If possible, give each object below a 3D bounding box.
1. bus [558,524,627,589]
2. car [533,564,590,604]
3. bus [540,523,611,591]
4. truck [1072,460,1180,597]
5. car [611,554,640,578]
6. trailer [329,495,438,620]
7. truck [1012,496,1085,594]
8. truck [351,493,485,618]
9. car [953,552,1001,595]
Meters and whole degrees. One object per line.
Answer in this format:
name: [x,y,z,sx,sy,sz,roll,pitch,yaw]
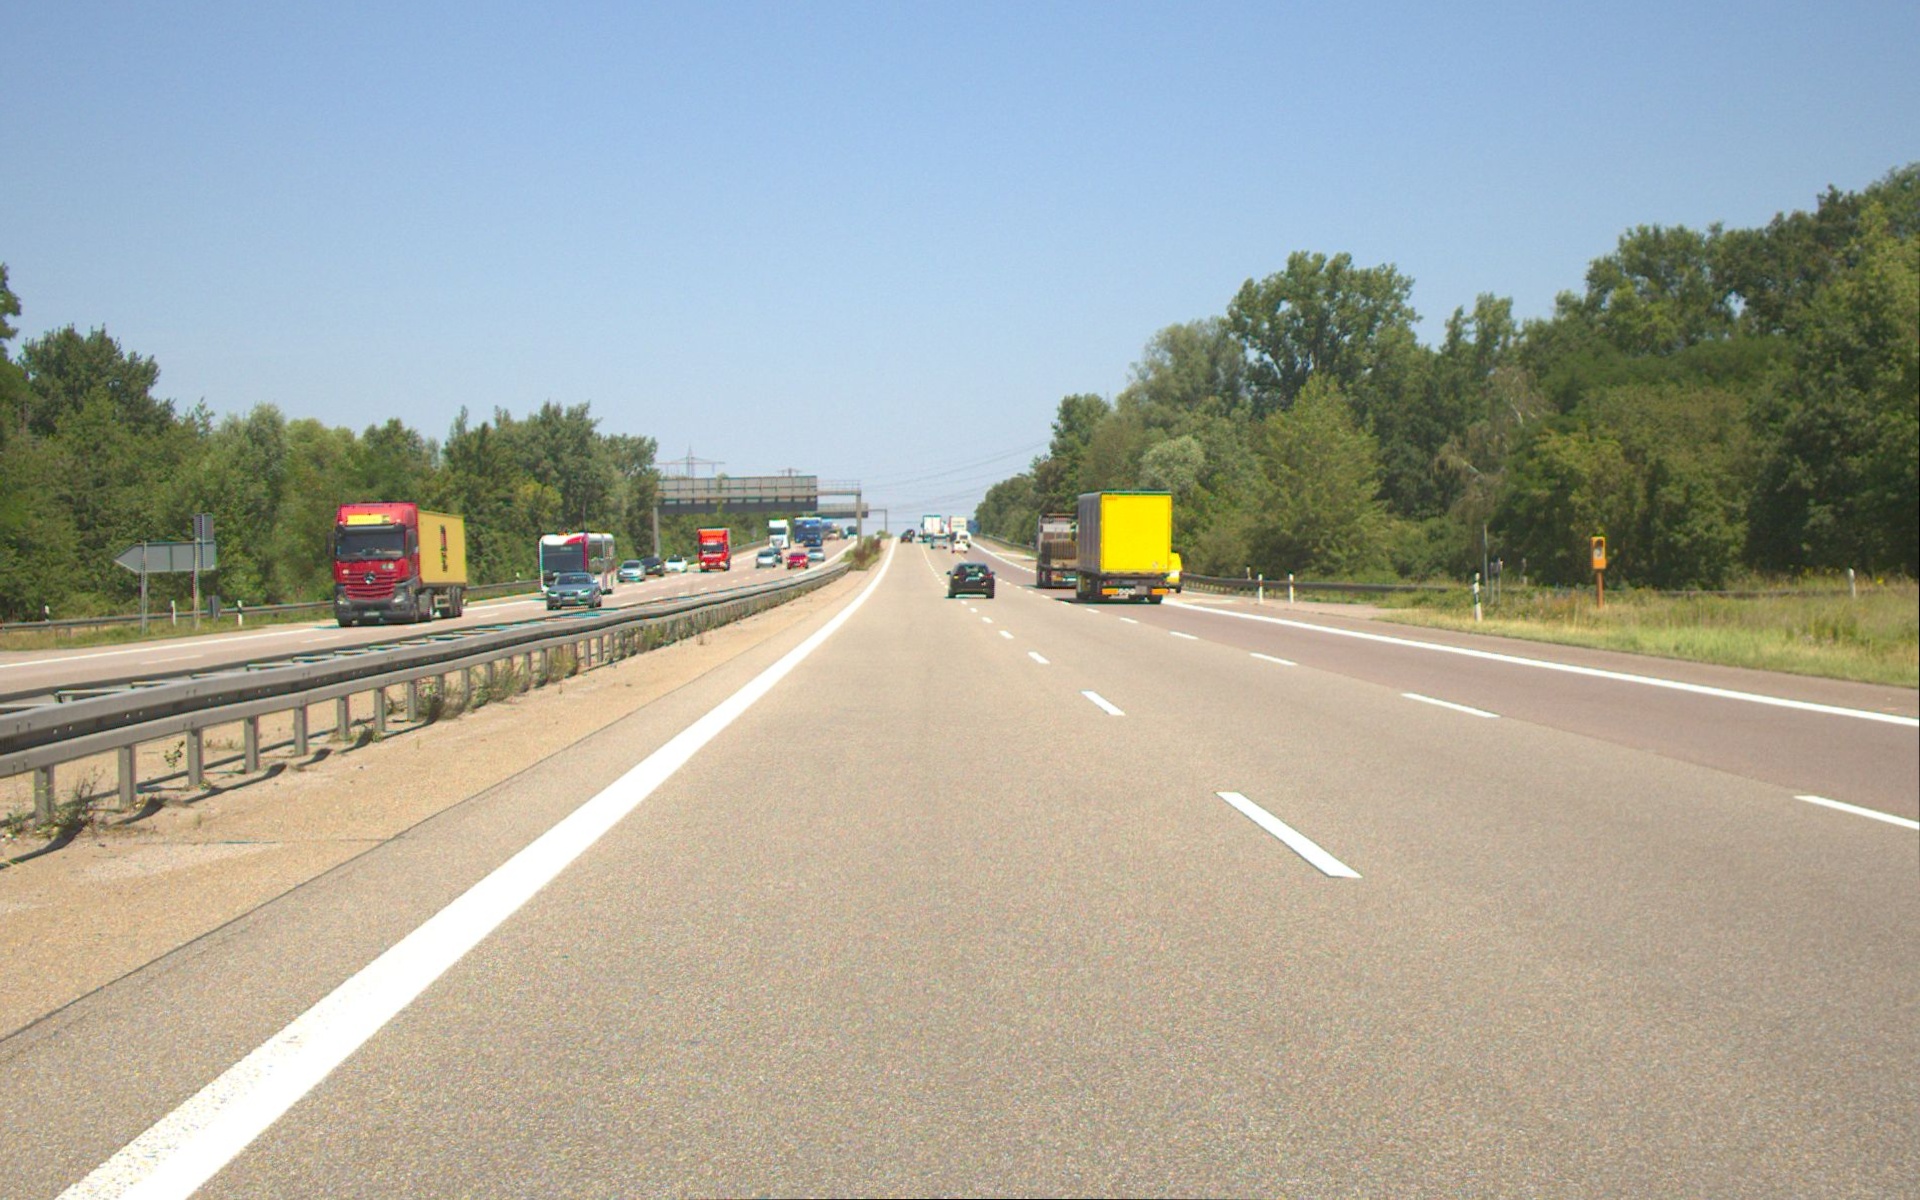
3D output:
bus: [-20.316,-2.410,190.608,2.763,3.435,10.146,-1,1,-1]
car: [-15.481,-0.621,133.781,1.720,1.376,4.787,-4,0,-2]
bus: [-20.206,-2.280,181.050,2.763,3.435,8.932,-1,1,-1]
truck: [6.210,-2.679,131.189,3.377,4.864,15.086,1,1,0]
car: [-25.073,-2.545,257.774,1.808,1.766,4.000,-1,1,-1]
trailer: [-18.950,-1.403,113.263,2.603,3.978,6.029,1,1,-1]
truck: [4.529,-2.861,179.357,3.367,4.864,15.086,1,1,0]
truck: [-18.917,-1.562,120.760,2.599,4.033,12.693,-3,1,-1]
car: [0.654,-1.090,138.950,1.827,1.700,4.000,1,1,-1]
